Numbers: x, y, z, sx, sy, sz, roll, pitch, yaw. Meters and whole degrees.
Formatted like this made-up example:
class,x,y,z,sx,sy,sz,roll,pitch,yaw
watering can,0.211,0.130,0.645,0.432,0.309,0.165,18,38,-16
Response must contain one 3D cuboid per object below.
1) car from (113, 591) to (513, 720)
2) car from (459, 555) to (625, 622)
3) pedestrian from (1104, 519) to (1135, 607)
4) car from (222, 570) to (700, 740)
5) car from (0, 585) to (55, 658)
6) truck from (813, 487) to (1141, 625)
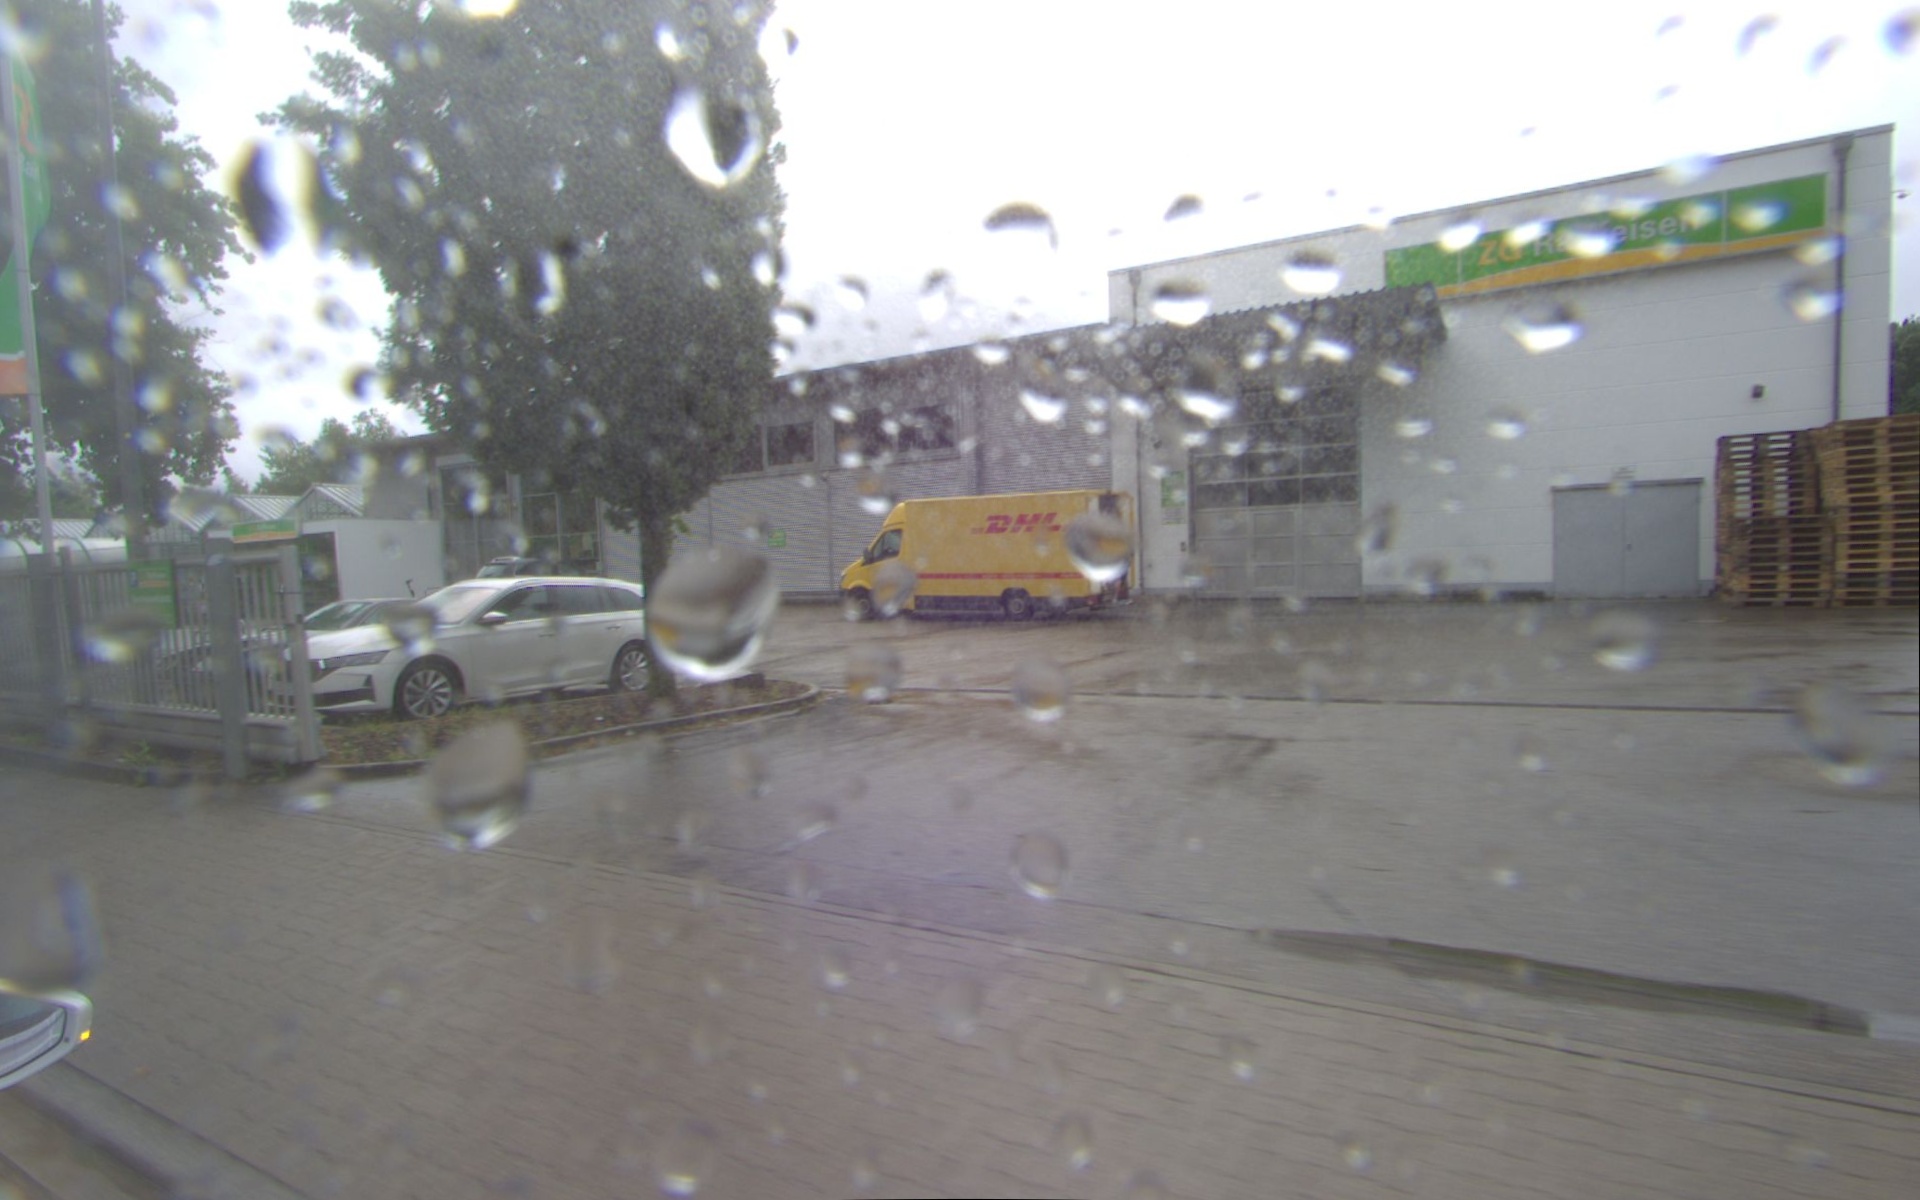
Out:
class,x,y,z,sx,sy,sz,roll,pitch,yaw
car,-7.933,0.587,12.690,1.594,1.273,3.932,-1,1,29
car,-12.983,-0.416,31.344,2.033,1.858,4.350,0,4,32
pedestrian,3.223,-0.753,20.235,0.427,1.742,0.453,0,5,34
car,-5.392,0.451,11.600,1.862,1.482,4.695,-1,2,29
car,-23.084,0.574,22.100,1.796,1.623,4.200,0,3,30
truck,0.221,-0.907,22.715,7.314,2.697,2.293,-1,4,34
